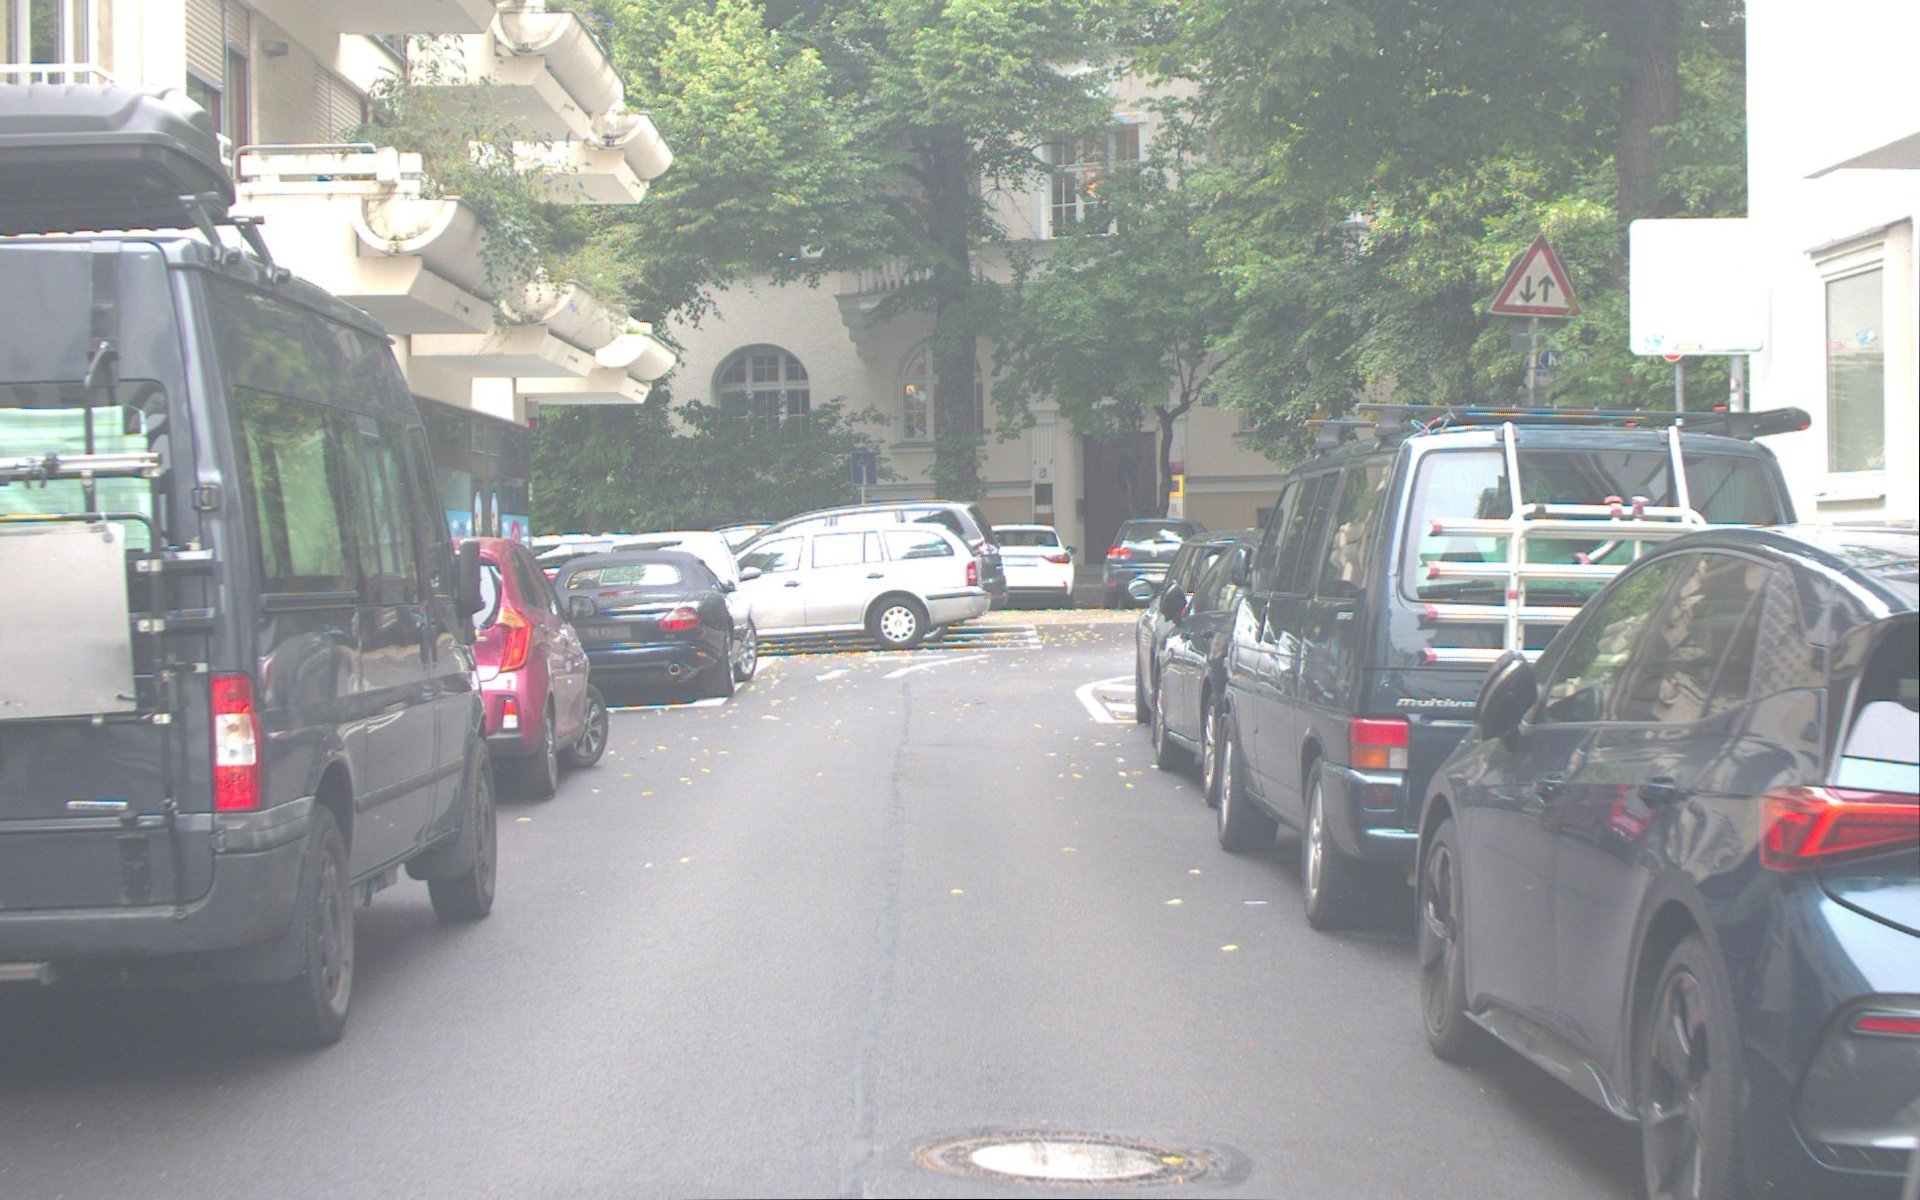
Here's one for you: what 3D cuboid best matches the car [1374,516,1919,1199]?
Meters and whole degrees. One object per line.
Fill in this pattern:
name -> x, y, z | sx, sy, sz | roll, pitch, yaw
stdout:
car -> 2.305, 0.579, 8.438 | 1.905, 1.548, 4.625 | -1, 1, -1

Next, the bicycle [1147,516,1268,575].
bicycle -> 4.664, -1.035, 64.801 | 2.232, 1.111, 0.576 | 1, 2, 28

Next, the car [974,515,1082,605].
car -> 1.143, -0.688, 56.971 | 1.718, 1.426, 4.000 | 0, 1, 2

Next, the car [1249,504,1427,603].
car -> 6.124, -0.767, 55.331 | 1.841, 1.525, 4.020 | 0, 1, 22

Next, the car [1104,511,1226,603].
car -> 3.366, -0.724, 55.832 | 1.792, 1.426, 3.999 | 0, 1, 6

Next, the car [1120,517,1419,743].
car -> 2.104, 0.151, 24.315 | 1.743, 1.436, 4.000 | -1, 1, 0

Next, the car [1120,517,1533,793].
car -> 2.017, 0.246, 20.042 | 1.833, 1.414, 4.059 | -1, 1, -2

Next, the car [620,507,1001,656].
car -> -1.702, -0.229, 39.723 | 4.227, 1.450, 1.721 | -3, 2, -1

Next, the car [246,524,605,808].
car -> -3.056, 0.313, 20.295 | 1.619, 1.491, 3.709 | -1, 1, -2

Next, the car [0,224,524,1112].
car -> -2.852, 0.162, 11.593 | 2.018, 2.271, 5.391 | -2, 1, 0

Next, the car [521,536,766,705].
car -> -2.734, 0.127, 30.600 | 1.797, 1.273, 4.617 | -3, 1, -1

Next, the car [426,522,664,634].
car -> -6.217, -0.346, 51.461 | 3.287, 1.625, 1.510 | -1, 1, -20

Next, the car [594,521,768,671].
car -> -2.878, -0.083, 36.055 | 1.560, 1.416, 3.834 | -3, 1, -2

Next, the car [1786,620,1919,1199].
car -> 2.297, 0.811, 3.355 | 1.759, 1.426, 4.262 | 2, 1, -3

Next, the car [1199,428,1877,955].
car -> 2.154, 0.275, 14.199 | 1.874, 1.785, 4.782 | -1, 1, -1

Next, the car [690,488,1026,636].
car -> -1.340, -0.511, 44.973 | 4.219, 1.678, 1.903 | -3, 1, -2
